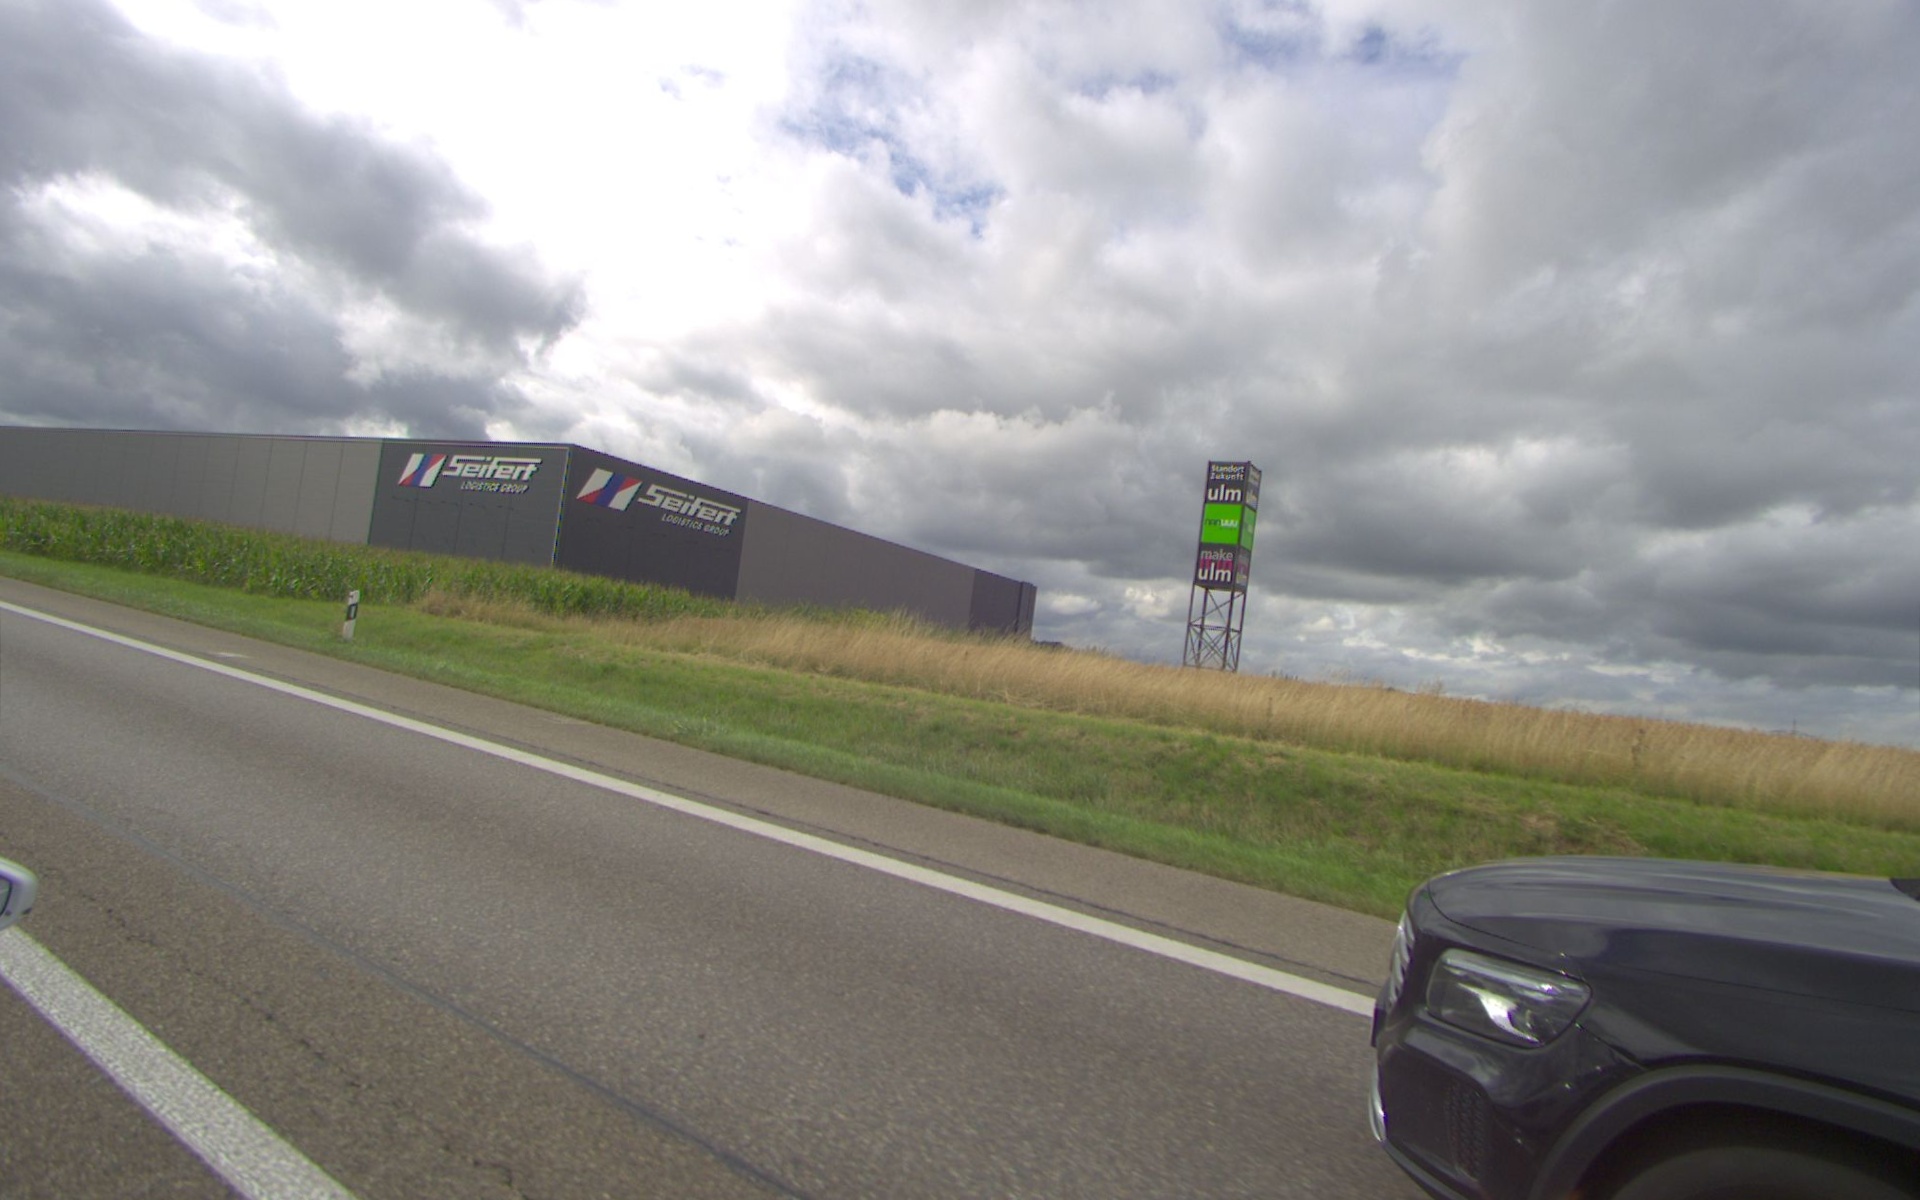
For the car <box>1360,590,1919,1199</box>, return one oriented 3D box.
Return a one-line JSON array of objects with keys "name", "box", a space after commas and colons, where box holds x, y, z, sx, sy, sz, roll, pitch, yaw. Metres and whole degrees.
[{"name": "car", "box": [3.258, 1.066, 1.928, 4.289, 1.628, 1.836, 6, -1, 32]}]
